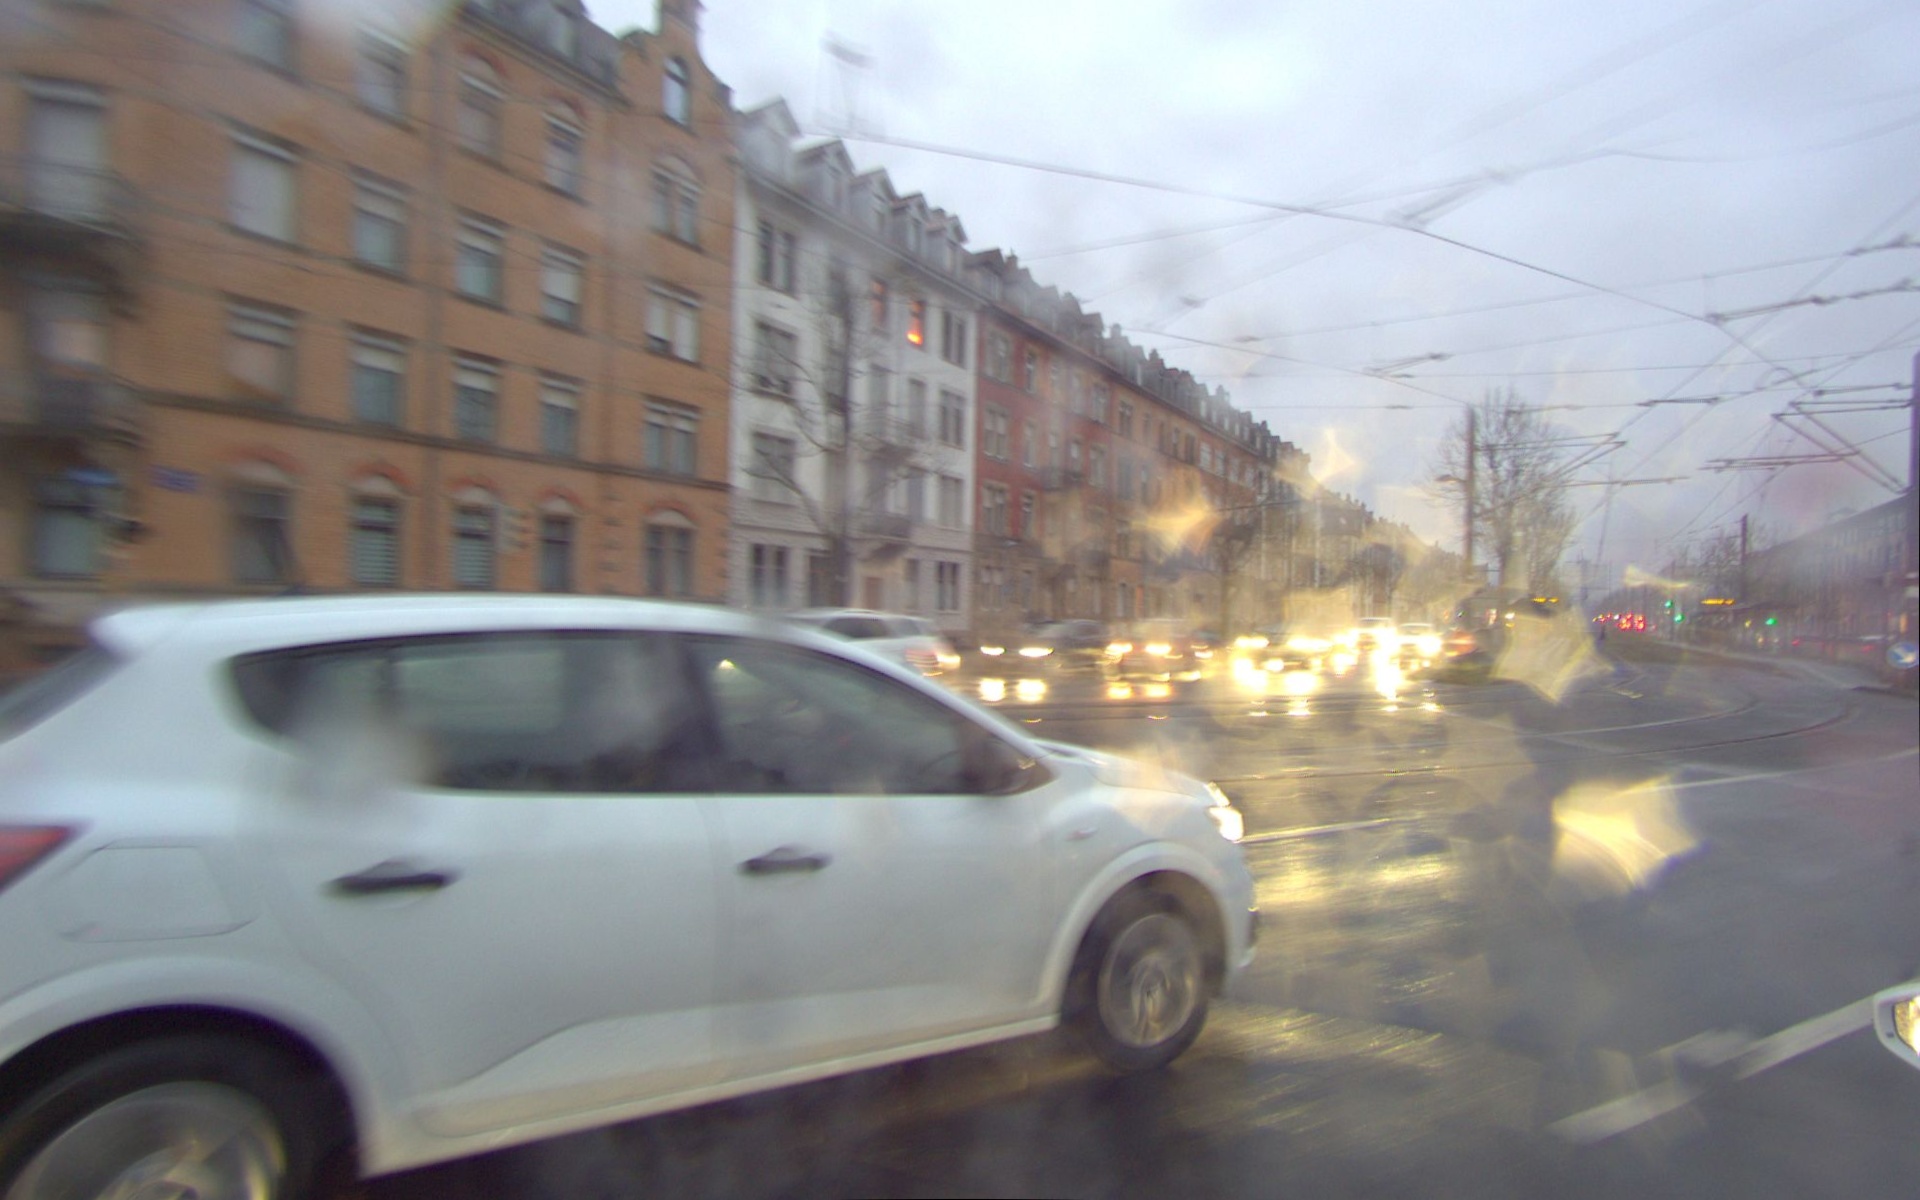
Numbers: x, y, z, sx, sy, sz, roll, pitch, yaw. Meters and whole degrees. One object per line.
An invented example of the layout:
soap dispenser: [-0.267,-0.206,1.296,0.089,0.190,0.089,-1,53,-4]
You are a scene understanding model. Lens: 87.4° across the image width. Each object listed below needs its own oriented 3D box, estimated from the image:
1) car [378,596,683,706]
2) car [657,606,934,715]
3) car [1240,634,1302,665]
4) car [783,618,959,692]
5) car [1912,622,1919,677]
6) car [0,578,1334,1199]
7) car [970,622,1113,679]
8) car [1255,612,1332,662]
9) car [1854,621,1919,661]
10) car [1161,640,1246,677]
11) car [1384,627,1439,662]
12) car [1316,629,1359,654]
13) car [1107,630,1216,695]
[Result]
car: [-6.779,0.752,16.144,4.197,1.545,1.664,1,-1,-43]
car: [-2.470,0.878,16.031,1.661,1.477,4.313,0,-1,41]
car: [13.767,2.153,44.336,1.516,1.243,4.075,0,-1,34]
car: [-1.818,1.116,21.387,1.661,1.410,3.596,0,-1,41]
car: [31.398,1.584,31.112,1.965,1.789,3.991,0,-1,31]
car: [-0.751,0.727,3.320,3.953,1.507,1.618,0,0,-31]
car: [2.251,1.277,26.593,1.659,1.372,4.370,0,-1,38]
car: [11.613,1.247,34.844,1.656,1.573,4.112,1,-1,31]
car: [41.322,1.769,44.362,1.964,1.639,3.992,0,-1,30]
car: [8.708,2.054,35.752,1.579,1.149,3.775,0,-1,37]
car: [17.762,1.702,39.470,1.514,1.262,4.078,0,-1,31]
car: [20.805,2.255,55.244,1.514,1.243,4.079,0,-1,31]
car: [5.196,1.534,25.713,1.469,1.506,3.139,0,-1,38]
